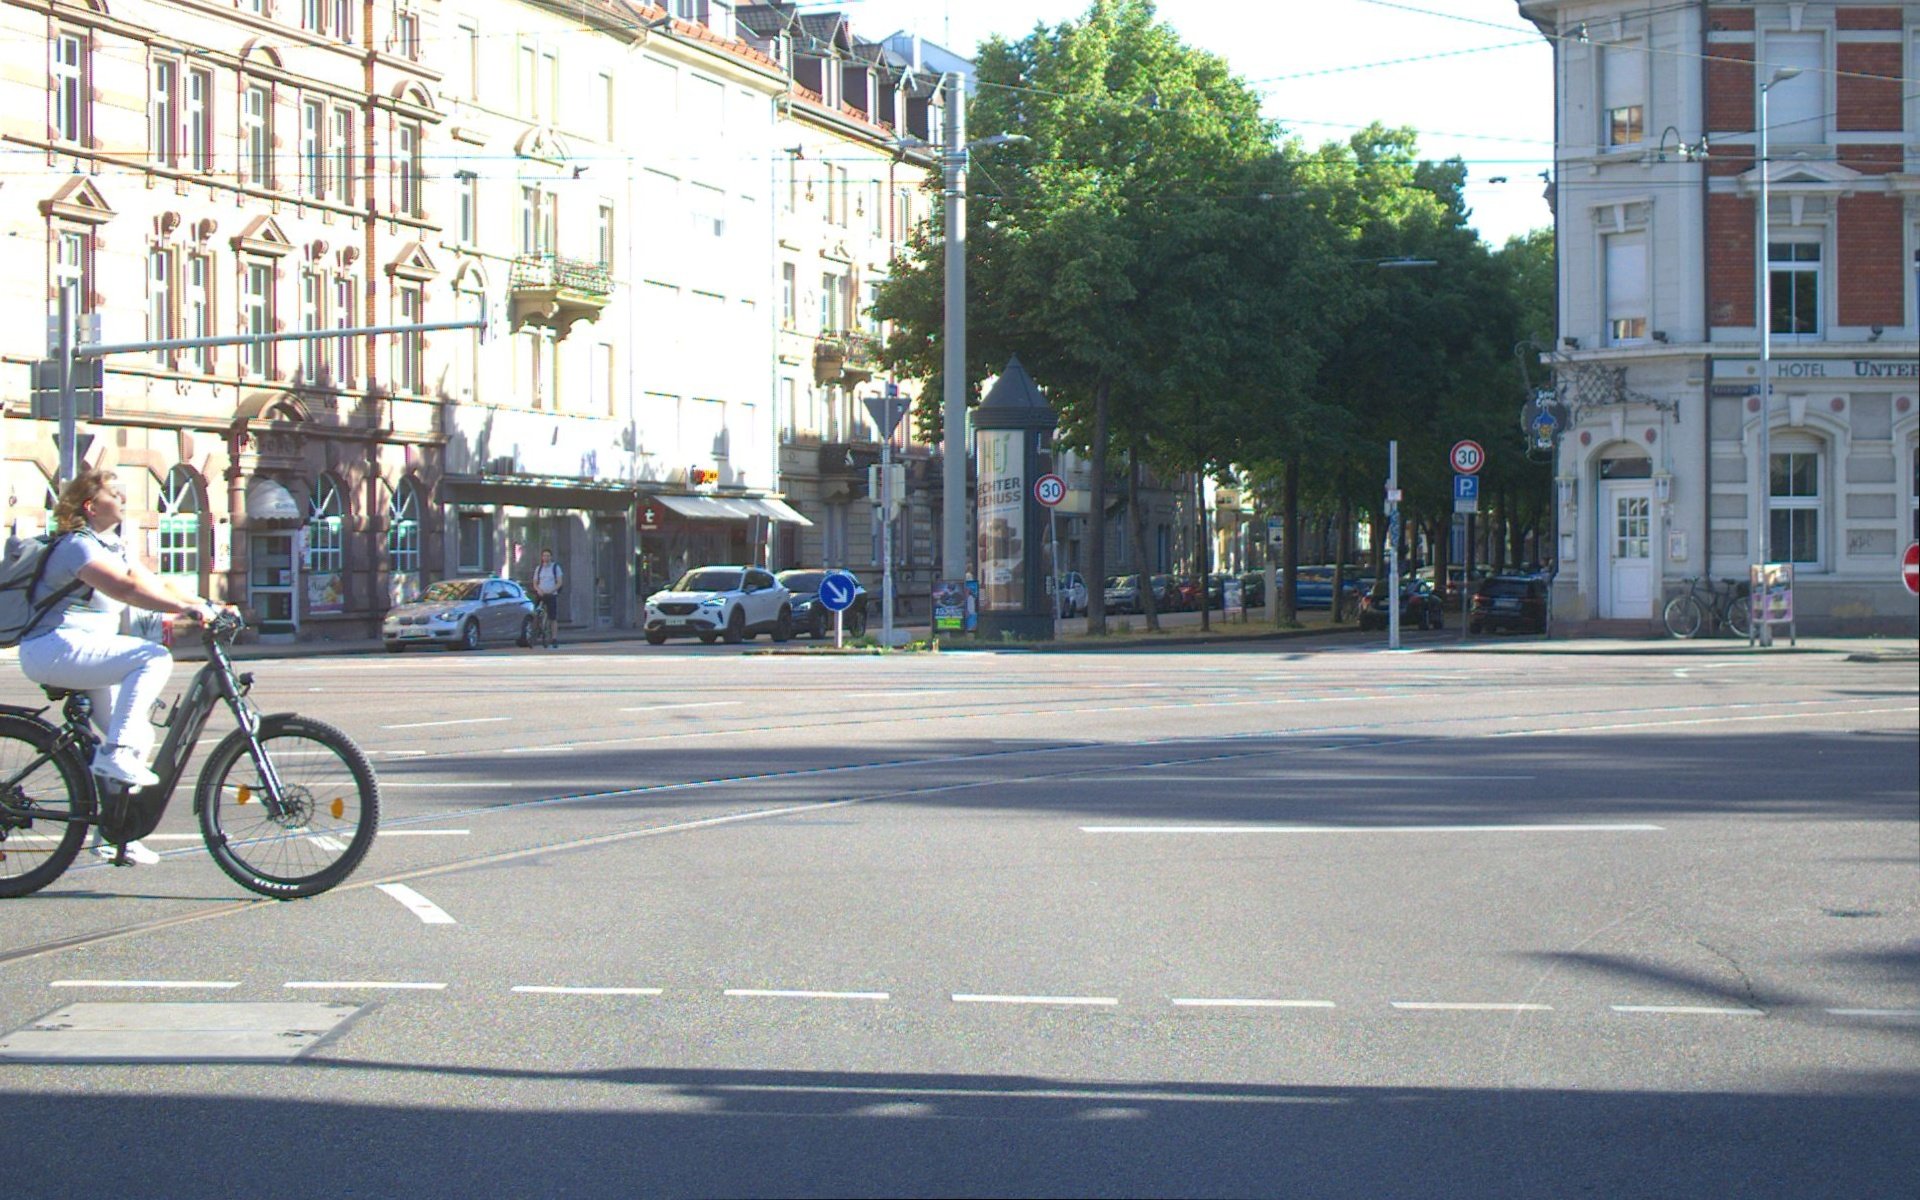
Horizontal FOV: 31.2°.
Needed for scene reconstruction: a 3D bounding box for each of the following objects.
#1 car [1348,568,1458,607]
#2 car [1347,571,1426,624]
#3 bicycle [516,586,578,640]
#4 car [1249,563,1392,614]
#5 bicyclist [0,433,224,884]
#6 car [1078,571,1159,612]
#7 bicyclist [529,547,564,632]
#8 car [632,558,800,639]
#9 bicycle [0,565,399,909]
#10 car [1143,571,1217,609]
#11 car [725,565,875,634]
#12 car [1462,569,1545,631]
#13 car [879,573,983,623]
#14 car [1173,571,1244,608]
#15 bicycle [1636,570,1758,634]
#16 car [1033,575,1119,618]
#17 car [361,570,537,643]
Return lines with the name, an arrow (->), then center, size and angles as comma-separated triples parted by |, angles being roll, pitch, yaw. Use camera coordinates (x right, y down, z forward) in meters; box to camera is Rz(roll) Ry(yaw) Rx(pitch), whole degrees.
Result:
car -> 14.375, -0.418, 111.452 | 3.435, 1.235, 1.576 | 0, 1, 11
car -> 11.096, -0.076, 89.199 | 1.718, 1.296, 4.071 | 0, 1, 12
bicycle -> -7.841, 0.237, 65.289 | 0.655, 0.997, 1.664 | 1, 1, 12
car -> 10.458, -0.352, 99.671 | 3.989, 1.450, 1.681 | 0, 1, 11
bicyclist -> -3.340, 0.216, 13.407 | 0.798, 1.709, 0.734 | 0, 1, -2
car -> 5.666, -0.328, 122.566 | 1.995, 1.400, 4.166 | 0, 1, 16
bicyclist -> -7.833, -0.197, 65.182 | 0.489, 1.596, 0.666 | 0, 1, 10
car -> -4.745, -0.048, 67.459 | 1.995, 1.511, 4.166 | 0, 1, 16
bicycle -> -3.203, 0.518, 13.395 | 1.940, 1.294, 0.623 | 0, 1, -2
car -> 8.420, -0.405, 131.393 | 1.995, 1.400, 4.166 | 0, 1, 16
car -> -3.391, -0.034, 73.632 | 1.995, 1.400, 4.166 | 0, 1, 16
car -> 13.056, -0.017, 82.515 | 1.756, 1.415, 3.998 | 0, 1, 12
car -> -0.832, -0.083, 102.078 | 1.995, 1.400, 4.166 | 0, 1, 16
car -> 9.898, -0.436, 136.590 | 1.995, 1.400, 4.166 | 0, 1, 16
bicycle -> 12.275, 0.031, 57.328 | 1.953, 1.050, 0.715 | 0, 1, 10
car -> 3.953, -0.140, 116.847 | 1.995, 1.400, 4.166 | 0, 1, 16
car -> -9.921, 0.107, 67.033 | 1.995, 1.357, 3.816 | 0, 1, 16
